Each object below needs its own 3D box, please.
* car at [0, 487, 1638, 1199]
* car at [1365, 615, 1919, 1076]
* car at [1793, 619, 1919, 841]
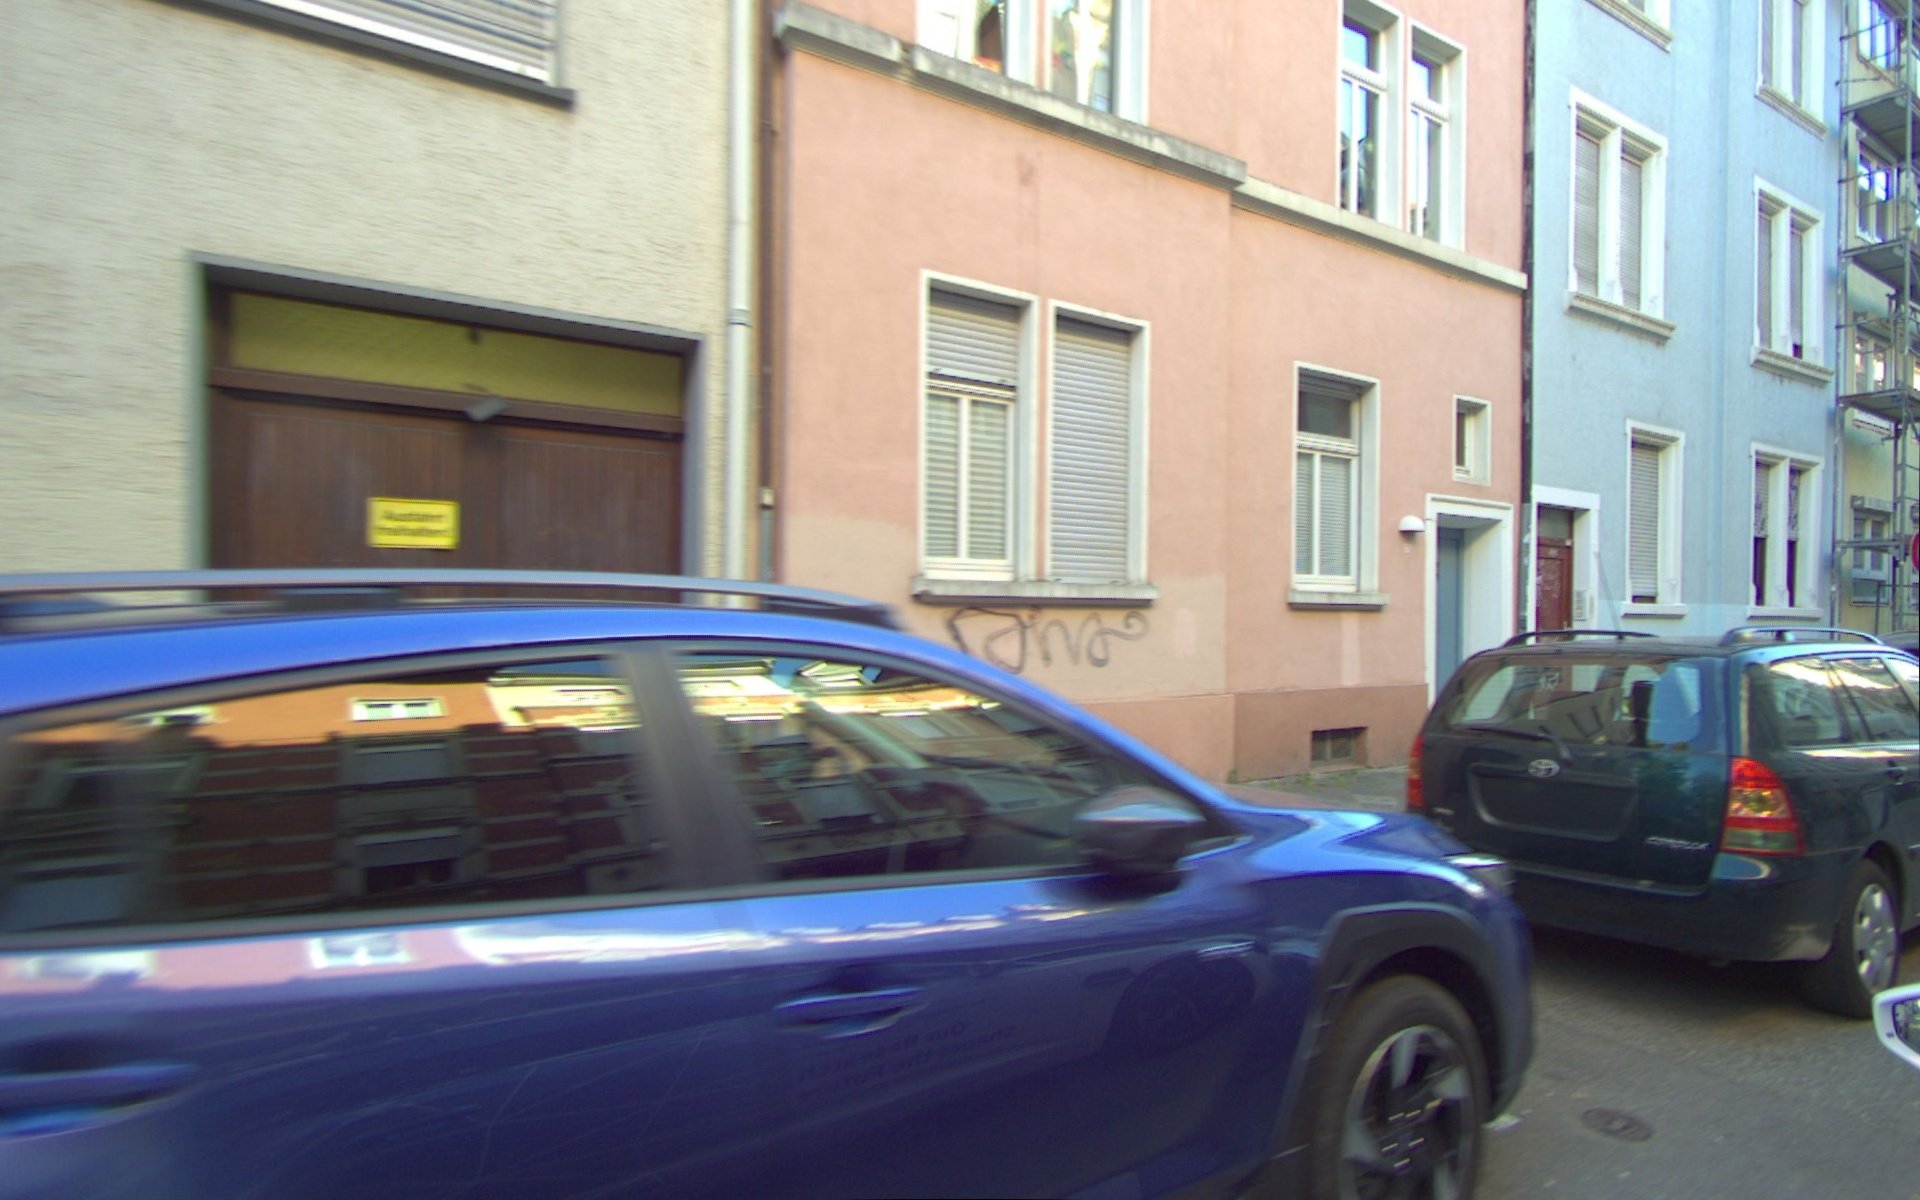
[{"bbox_3d":[-0.434,0.731,2.206,4.333,1.560,1.718,1,-3,-35],"label":"car"},{"bbox_3d":[4.200,0.864,5.236,4.366,1.531,1.666,1,-2,-33],"label":"car"},{"bbox_3d":[8.474,0.914,7.896,4.557,1.496,1.666,1,-2,-33],"label":"car"}]
